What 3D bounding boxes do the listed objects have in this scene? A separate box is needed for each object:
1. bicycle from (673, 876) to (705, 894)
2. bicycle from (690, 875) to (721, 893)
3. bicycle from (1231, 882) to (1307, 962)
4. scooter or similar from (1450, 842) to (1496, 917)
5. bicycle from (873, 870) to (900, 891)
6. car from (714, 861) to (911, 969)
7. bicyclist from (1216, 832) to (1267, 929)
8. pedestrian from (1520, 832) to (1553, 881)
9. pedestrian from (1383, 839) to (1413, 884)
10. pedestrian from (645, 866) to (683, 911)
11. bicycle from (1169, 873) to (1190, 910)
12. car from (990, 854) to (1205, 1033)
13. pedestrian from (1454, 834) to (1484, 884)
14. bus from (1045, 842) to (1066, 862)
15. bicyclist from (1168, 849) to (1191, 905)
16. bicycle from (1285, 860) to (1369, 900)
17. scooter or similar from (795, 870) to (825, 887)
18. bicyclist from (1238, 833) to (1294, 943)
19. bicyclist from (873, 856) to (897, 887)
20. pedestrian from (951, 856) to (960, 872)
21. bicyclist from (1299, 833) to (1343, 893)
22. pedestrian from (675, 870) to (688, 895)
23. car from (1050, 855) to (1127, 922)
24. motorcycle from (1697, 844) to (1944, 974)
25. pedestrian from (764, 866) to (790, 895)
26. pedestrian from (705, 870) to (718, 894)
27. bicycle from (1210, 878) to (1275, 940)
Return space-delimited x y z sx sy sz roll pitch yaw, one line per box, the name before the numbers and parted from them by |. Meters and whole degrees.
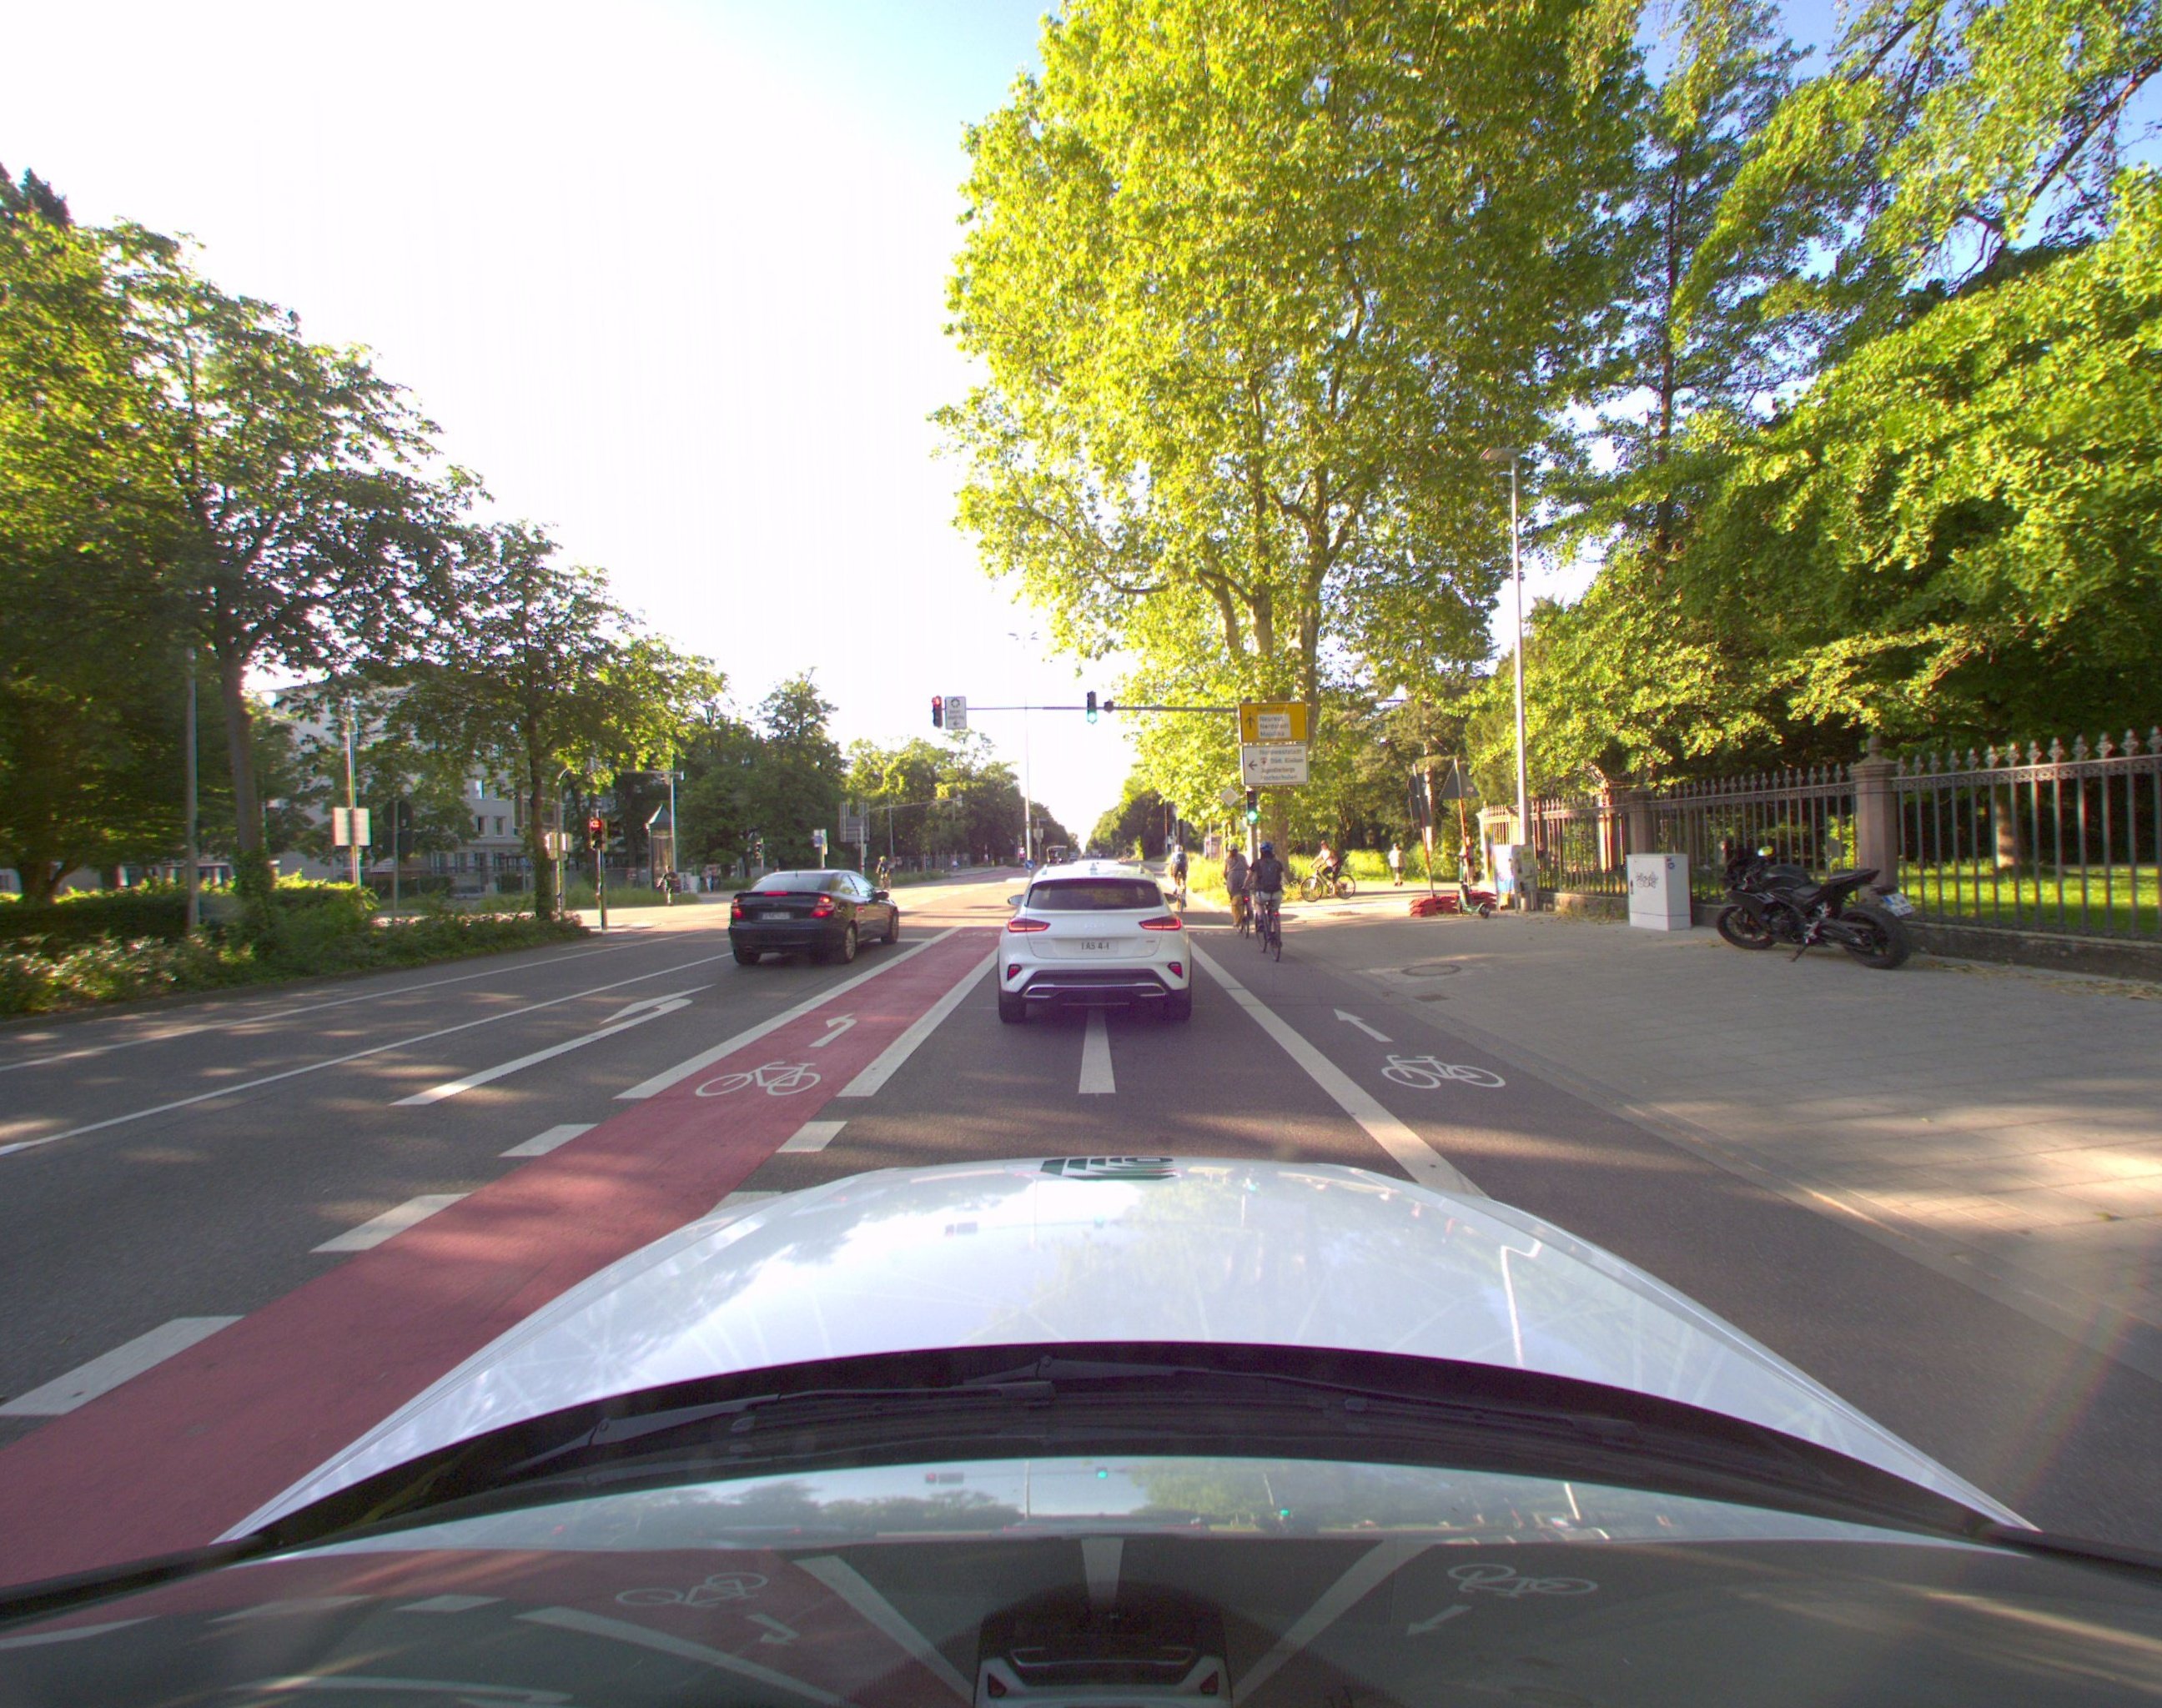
bicycle | -26.079 2.048 54.175 1.859 1.148 0.442 -1 -1 -6
bicycle | -24.827 2.009 53.841 1.859 1.148 0.290 -1 -1 -6
bicycle | 2.783 0.974 12.250 0.666 1.009 2.081 -1 0 0
scooter or similar | 7.195 0.452 14.980 0.227 1.327 1.172 -3 0 0
bicycle | -10.527 1.417 44.112 0.660 0.989 2.507 -3 0 4
car | -4.221 0.877 13.588 1.698 1.405 4.266 -3 0 2
bicyclist | 3.055 0.491 15.614 0.750 1.796 1.165 0 0 0
pedestrian | 16.262 0.092 29.089 0.819 1.681 0.696 -2 -1 15
pedestrian | 10.939 0.275 28.096 0.810 1.518 0.922 -2 -1 28
pedestrian | -19.034 1.575 37.205 0.990 2.014 1.193 -1 -1 7
bicycle | 2.670 1.008 22.189 0.400 0.956 1.551 -1 -1 1
car | 0.158 0.773 8.971 1.815 1.480 3.936 -2 0 0
pedestrian | 13.222 0.172 27.768 0.686 1.699 0.644 -1 -1 1
bus | -4.931 -0.380 161.370 3.731 3.673 13.234 -3 0 -1
bicyclist | 2.682 0.626 22.214 0.552 1.478 0.717 -1 -1 1
bicycle | 6.849 0.715 22.683 2.094 0.976 0.747 -3 0 -11
scooter or similar | -18.774 1.711 56.401 0.703 1.124 1.933 -2 -1 34
bicyclist | 2.777 0.497 12.278 0.663 1.602 0.721 -1 0 0
bicyclist | -10.560 0.925 43.990 0.871 1.608 1.189 -3 0 4
pedestrian | -14.334 1.134 92.935 0.782 1.785 0.751 -1 -1 2
bicyclist | 6.667 0.245 22.654 0.847 1.613 0.733 -3 0 -11
pedestrian | -26.398 1.867 53.844 0.628 1.642 0.444 -1 -1 -8
car | 0.190 0.811 20.734 1.723 1.483 3.516 -3 0 0
motorcycle | 7.414 0.499 8.350 0.504 1.131 2.170 -4 -1 0
pedestrian | -17.693 1.507 47.433 1.086 1.603 0.999 -3 0 -5
pedestrian | -24.314 1.830 53.617 0.628 1.581 0.444 -1 -1 -8
bicycle | 3.056 1.011 15.635 0.755 1.013 2.569 0 0 0
